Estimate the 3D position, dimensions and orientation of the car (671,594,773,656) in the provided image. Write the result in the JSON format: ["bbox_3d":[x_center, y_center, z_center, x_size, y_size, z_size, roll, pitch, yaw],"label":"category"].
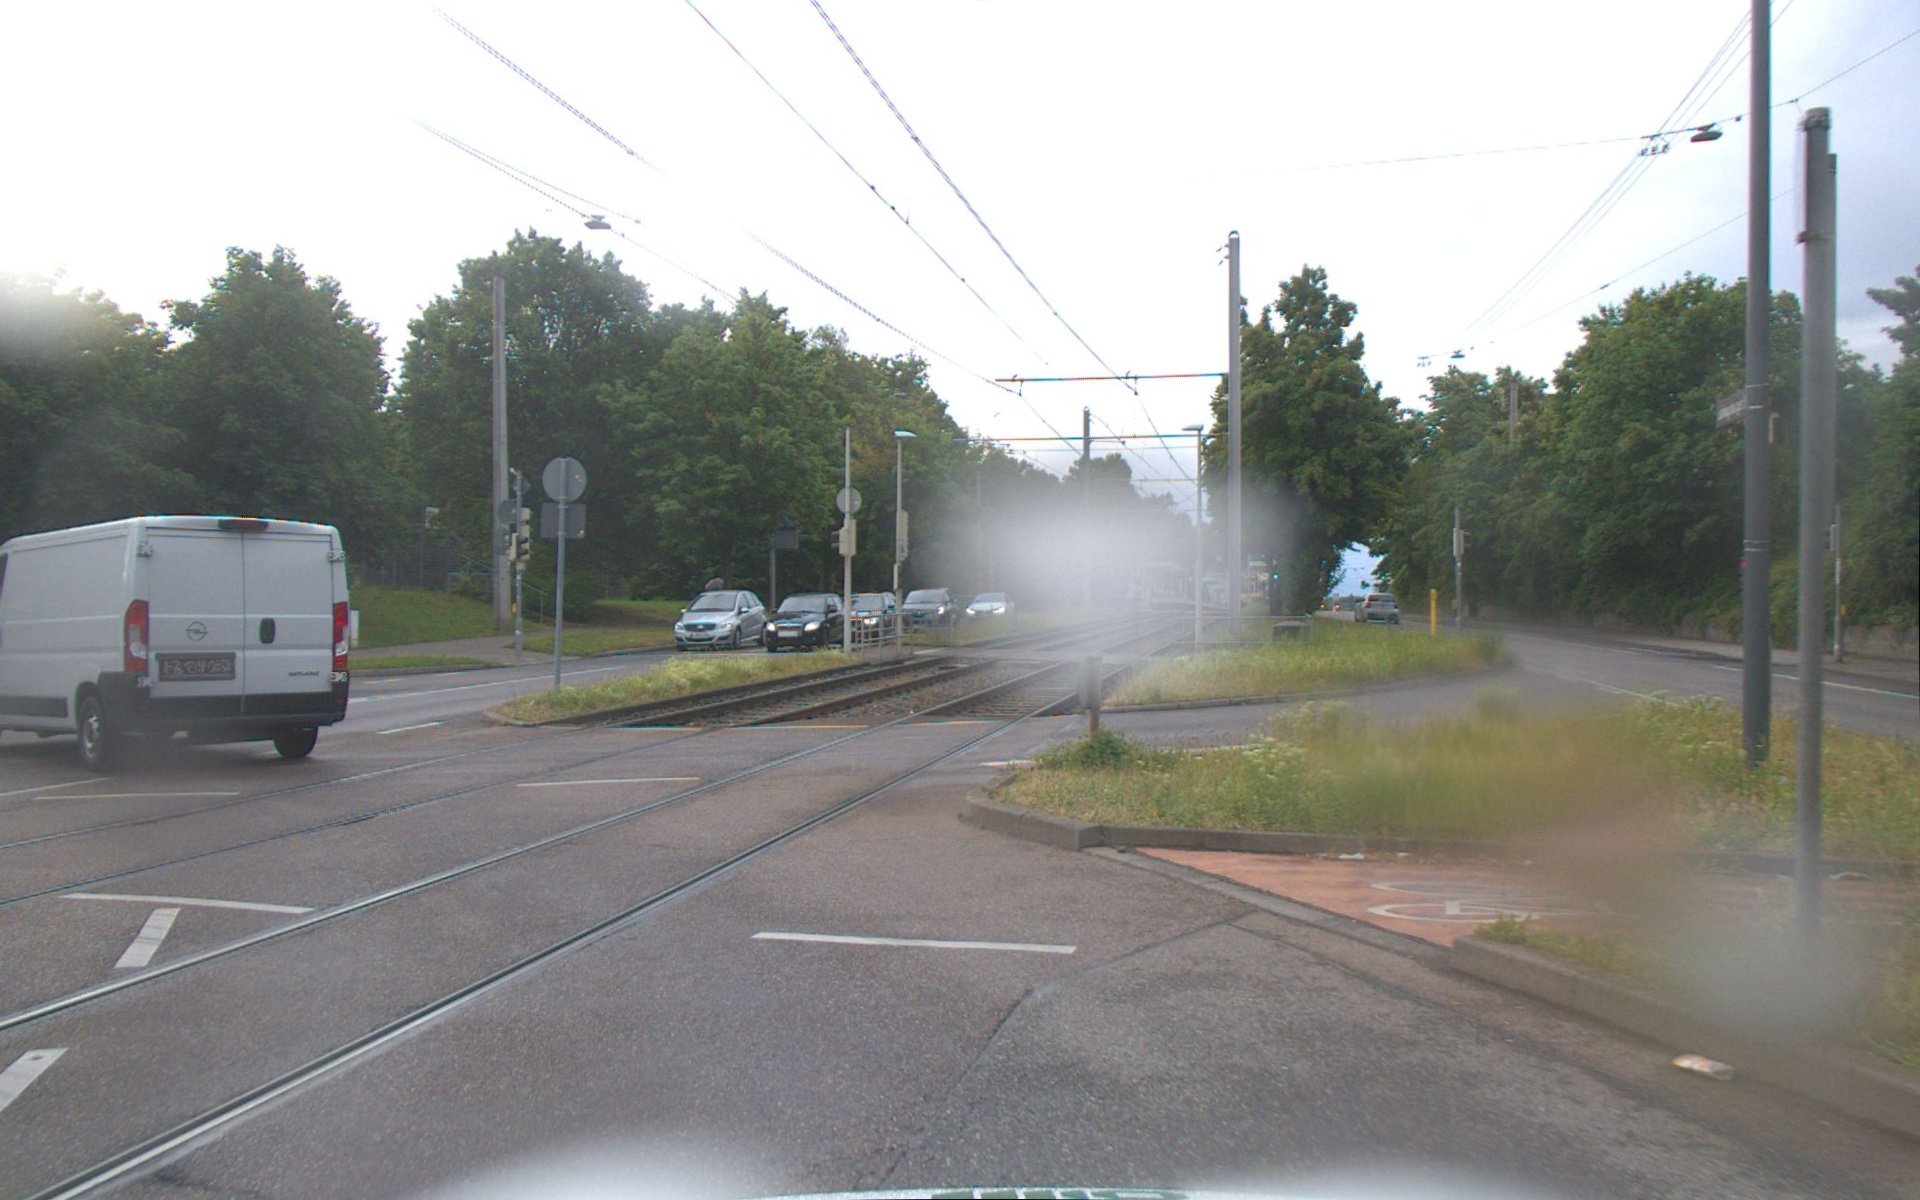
[{"bbox_3d":[-6.670,0.684,46.748,1.682,1.581,3.866,-3,0,10],"label":"car"}]

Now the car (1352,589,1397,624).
[{"bbox_3d":[19.554,0.280,78.111,1.667,1.548,3.795,1,1,9],"label":"car"}]

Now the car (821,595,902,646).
[{"bbox_3d":[-2.946,0.596,50.239,1.567,1.426,3.795,-2,0,10],"label":"car"}]

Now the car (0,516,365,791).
[{"bbox_3d":[-8.096,0.412,16.443,4.976,2.323,2.139,1,1,44],"label":"car"}]

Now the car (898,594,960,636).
[{"bbox_3d":[-1.127,0.529,61.217,1.567,1.426,3.795,1,1,10],"label":"car"}]

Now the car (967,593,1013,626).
[{"bbox_3d":[1.444,0.424,77.572,1.567,1.426,3.795,-1,0,10],"label":"car"}]

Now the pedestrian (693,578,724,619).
[{"bbox_3d":[-10.065,-0.069,66.189,0.992,1.629,1.040,0,0,5],"label":"pedestrian"}]

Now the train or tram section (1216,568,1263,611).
[{"bbox_3d":[27.599,-0.957,162.662,3.973,3.962,15.052,1,0,12],"label":"train or tram section"}]

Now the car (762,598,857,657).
[{"bbox_3d":[-4.012,0.709,44.506,1.567,1.426,3.795,1,1,10],"label":"car"}]
